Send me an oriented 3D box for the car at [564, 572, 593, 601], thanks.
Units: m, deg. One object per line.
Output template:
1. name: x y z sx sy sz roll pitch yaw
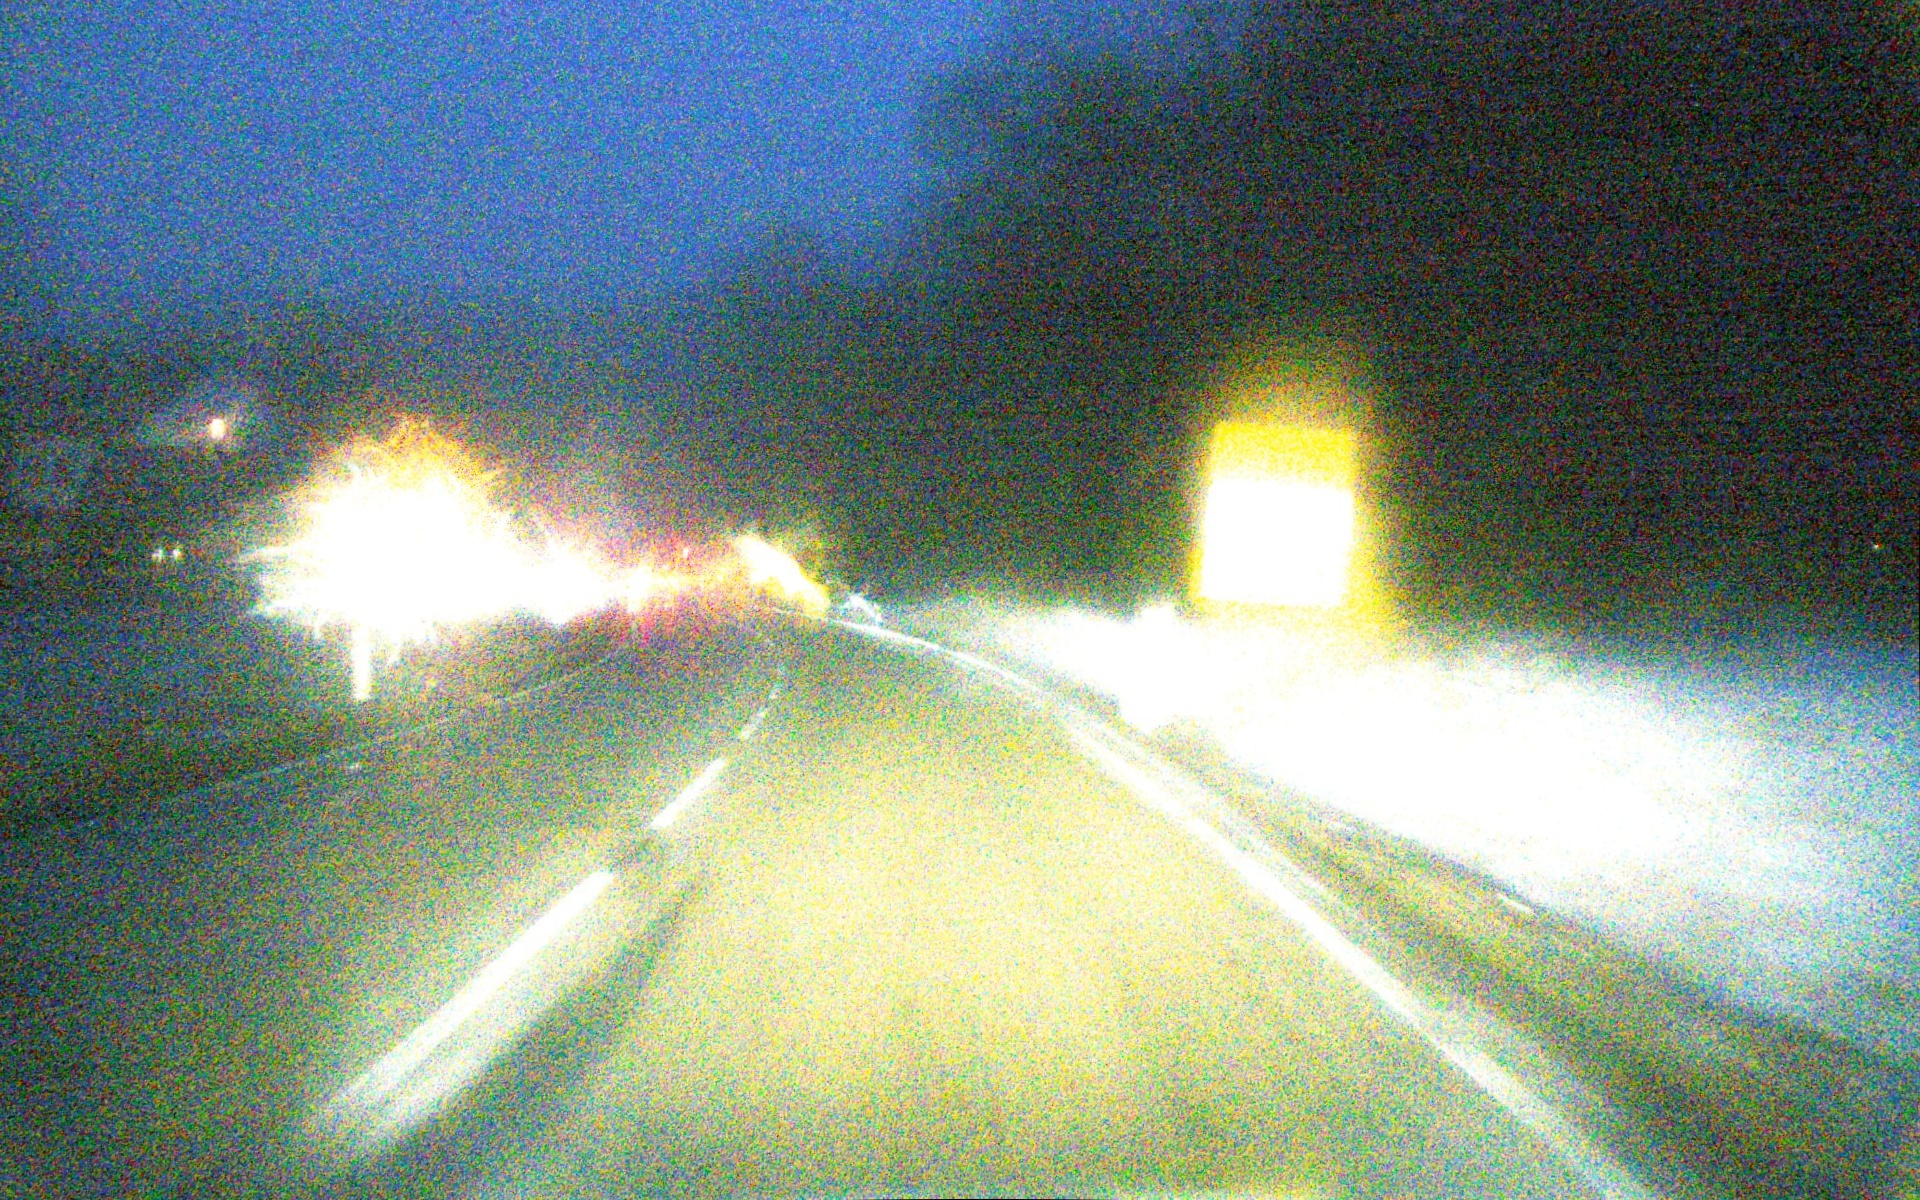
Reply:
1. car: -28.128 -0.959 122.099 1.959 2.049 3.987 1 0 -12

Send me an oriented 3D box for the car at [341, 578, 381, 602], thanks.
1. car: -40.137 -0.674 110.895 1.657 1.422 4.142 -2 2 -9

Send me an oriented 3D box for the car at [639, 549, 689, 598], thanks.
1. car: -17.643 -1.613 98.387 2.496 2.540 5.696 1 4 -14

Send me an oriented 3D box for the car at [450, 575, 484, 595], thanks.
1. car: -40.019 -1.225 134.138 1.932 1.548 4.363 2 0 -26
